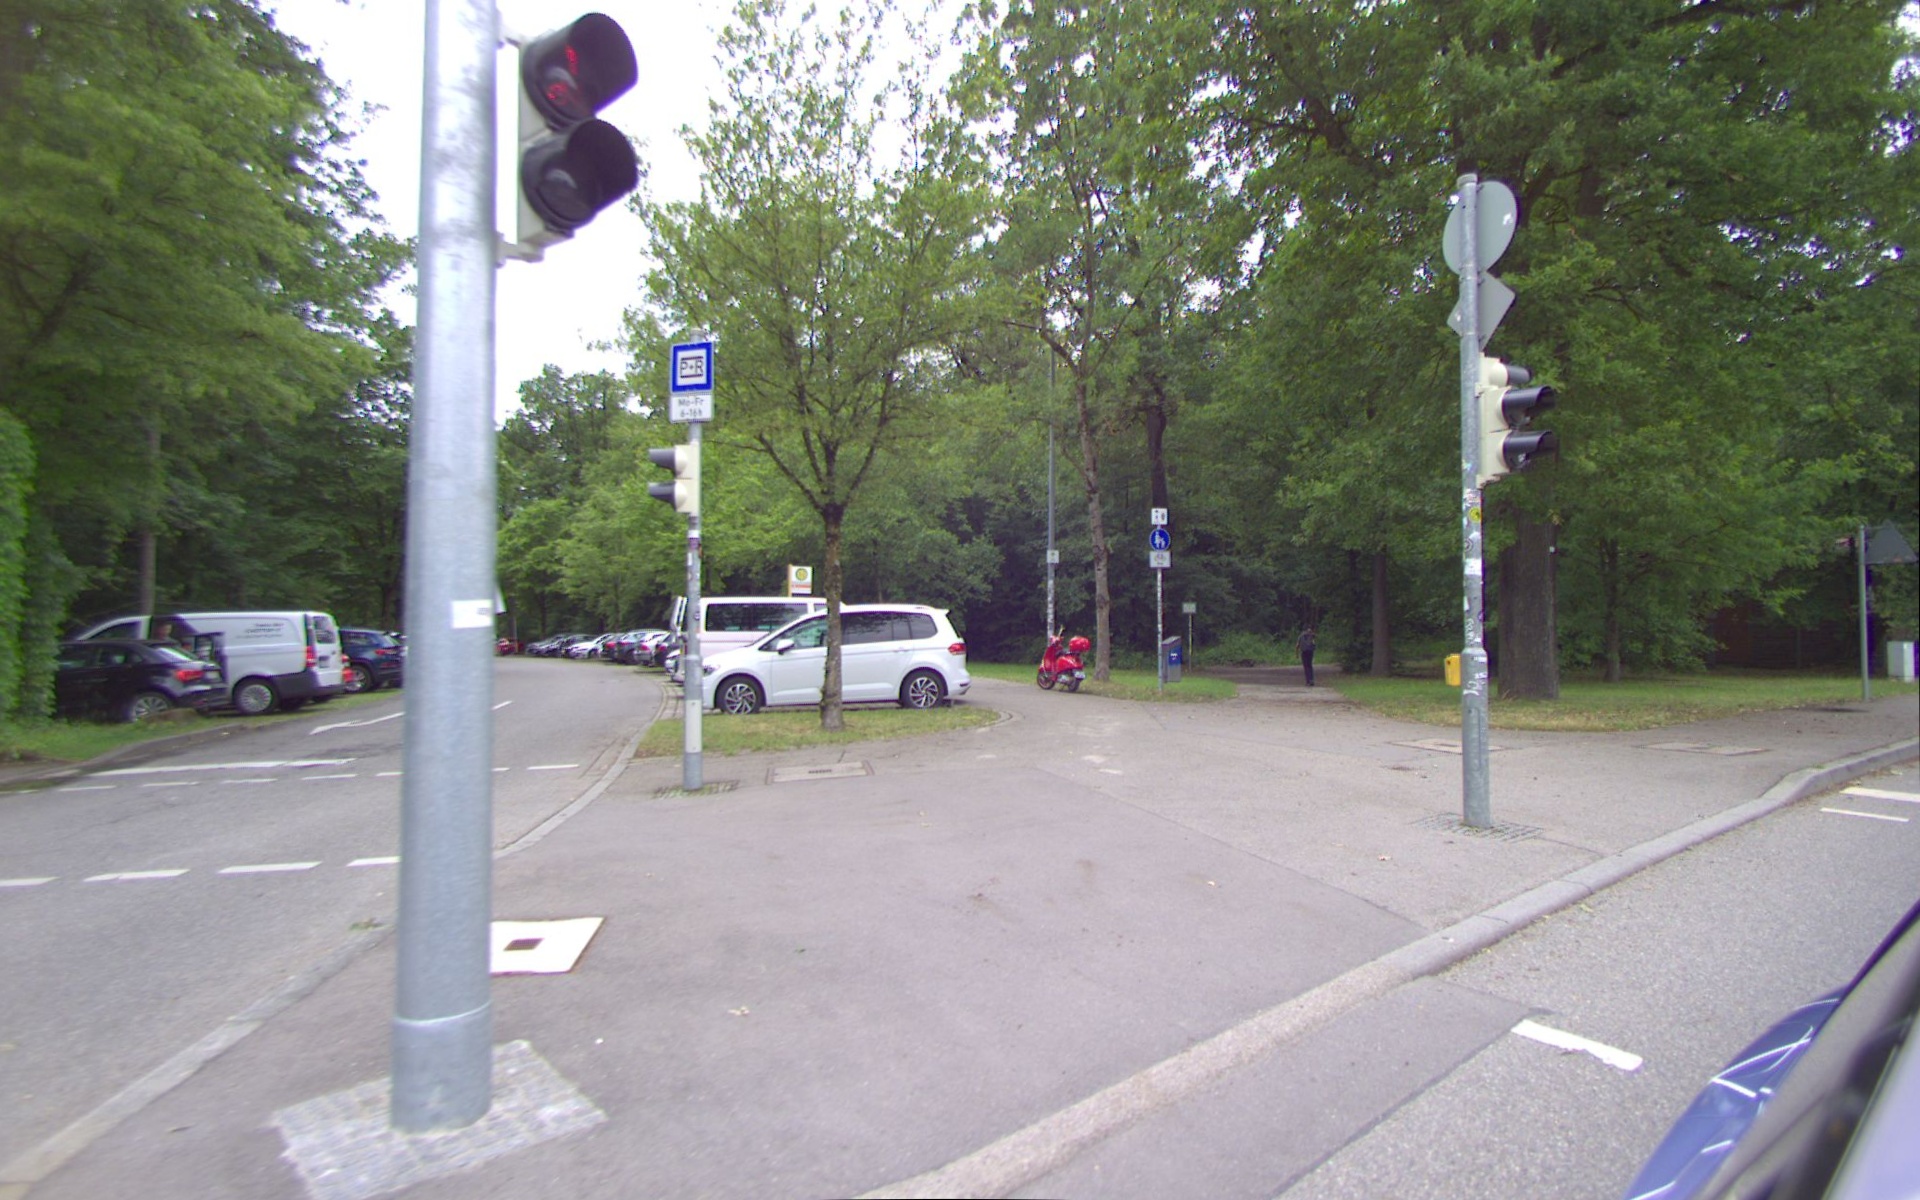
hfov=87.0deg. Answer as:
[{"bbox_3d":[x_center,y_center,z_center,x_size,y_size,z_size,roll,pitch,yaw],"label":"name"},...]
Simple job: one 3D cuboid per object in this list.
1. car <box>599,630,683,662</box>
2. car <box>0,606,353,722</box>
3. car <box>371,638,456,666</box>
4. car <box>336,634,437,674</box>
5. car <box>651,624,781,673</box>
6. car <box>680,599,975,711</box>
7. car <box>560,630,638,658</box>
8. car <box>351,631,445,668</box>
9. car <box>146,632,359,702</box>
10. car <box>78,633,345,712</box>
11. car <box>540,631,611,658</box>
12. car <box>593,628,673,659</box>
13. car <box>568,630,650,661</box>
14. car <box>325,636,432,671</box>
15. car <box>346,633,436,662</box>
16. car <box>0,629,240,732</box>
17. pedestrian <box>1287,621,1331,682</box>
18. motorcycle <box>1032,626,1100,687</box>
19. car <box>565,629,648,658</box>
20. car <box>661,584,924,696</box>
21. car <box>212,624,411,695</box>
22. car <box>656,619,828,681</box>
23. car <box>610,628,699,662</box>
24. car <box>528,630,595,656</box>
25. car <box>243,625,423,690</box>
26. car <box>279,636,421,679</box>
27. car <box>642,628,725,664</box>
[{"bbox_3d":[-15.287,2.194,48.543,3.693,1.447,1.760,0,-2,-23],"label":"car"},{"bbox_3d":[-14.102,1.105,18.471,4.846,1.903,2.003,0,-2,-18],"label":"car"},{"bbox_3d":[-25.846,2.467,47.962,3.361,1.235,1.562,0,-2,-23],"label":"car"},{"bbox_3d":[-23.175,2.160,41.017,3.361,1.491,1.562,0,-2,-23],"label":"car"},{"bbox_3d":[-7.874,1.532,32.606,3.982,1.476,1.767,0,-2,-17],"label":"car"},{"bbox_3d":[-2.113,0.814,15.934,4.328,1.572,2.003,0,-2,-13],"label":"car"},{"bbox_3d":[-23.048,2.764,64.597,4.371,1.672,2.000,0,-2,-32],"label":"car"},{"bbox_3d":[-28.906,2.537,52.223,4.119,1.809,1.839,0,-2,-27],"label":"car"},{"bbox_3d":[-15.695,1.453,22.657,3.532,1.432,1.786,0,-2,-18],"label":"car"},{"bbox_3d":[-15.015,1.419,20.559,3.965,1.432,1.831,0,-2,-18],"label":"car"},{"bbox_3d":[-25.808,2.964,67.944,4.170,1.672,2.000,0,-2,-32],"label":"car"},{"bbox_3d":[-16.465,2.177,50.946,3.693,1.447,1.760,0,-2,-23],"label":"car"},{"bbox_3d":[-20.096,2.556,57.916,4.135,1.672,1.845,0,-2,-32],"label":"car"},{"bbox_3d":[-22.313,2.037,38.958,3.361,1.235,1.562,0,-2,-23],"label":"car"},{"bbox_3d":[-25.539,2.113,45.560,3.361,1.235,1.562,0,-2,-23],"label":"car"},{"bbox_3d":[-13.577,1.194,15.570,3.769,1.438,1.823,0,-2,-24],"label":"car"},{"bbox_3d":[9.767,1.430,28.320,0.829,1.672,1.021,-3,-3,39],"label":"pedestrian"},{"bbox_3d":[2.194,1.163,21.245,0.578,1.220,1.960,0,-2,-21],"label":"motorcycle"},{"bbox_3d":[-21.077,2.578,60.378,4.371,1.672,2.000,0,-2,-32],"label":"car"},{"bbox_3d":[-3.493,0.783,20.910,5.074,1.982,2.066,-2,-2,-17],"label":"car"},{"bbox_3d":[-16.092,1.442,25.355,3.907,1.643,1.851,0,-2,-23],"label":"car"},{"bbox_3d":[-6.034,1.340,27.970,4.437,1.578,1.846,0,-2,-20],"label":"car"},{"bbox_3d":[-13.910,2.037,46.075,3.693,1.447,1.760,0,-2,-23],"label":"car"},{"bbox_3d":[-27.799,2.989,70.641,4.058,1.672,2.000,0,-2,-32],"label":"car"},{"bbox_3d":[-17.017,1.530,27.693,3.907,1.639,1.851,0,-2,-23],"label":"car"},{"bbox_3d":[-20.786,1.937,34.662,3.907,1.378,1.743,0,-2,-23],"label":"car"},{"bbox_3d":[-12.031,1.973,44.032,3.314,1.460,1.523,0,-2,-25],"label":"car"}]
